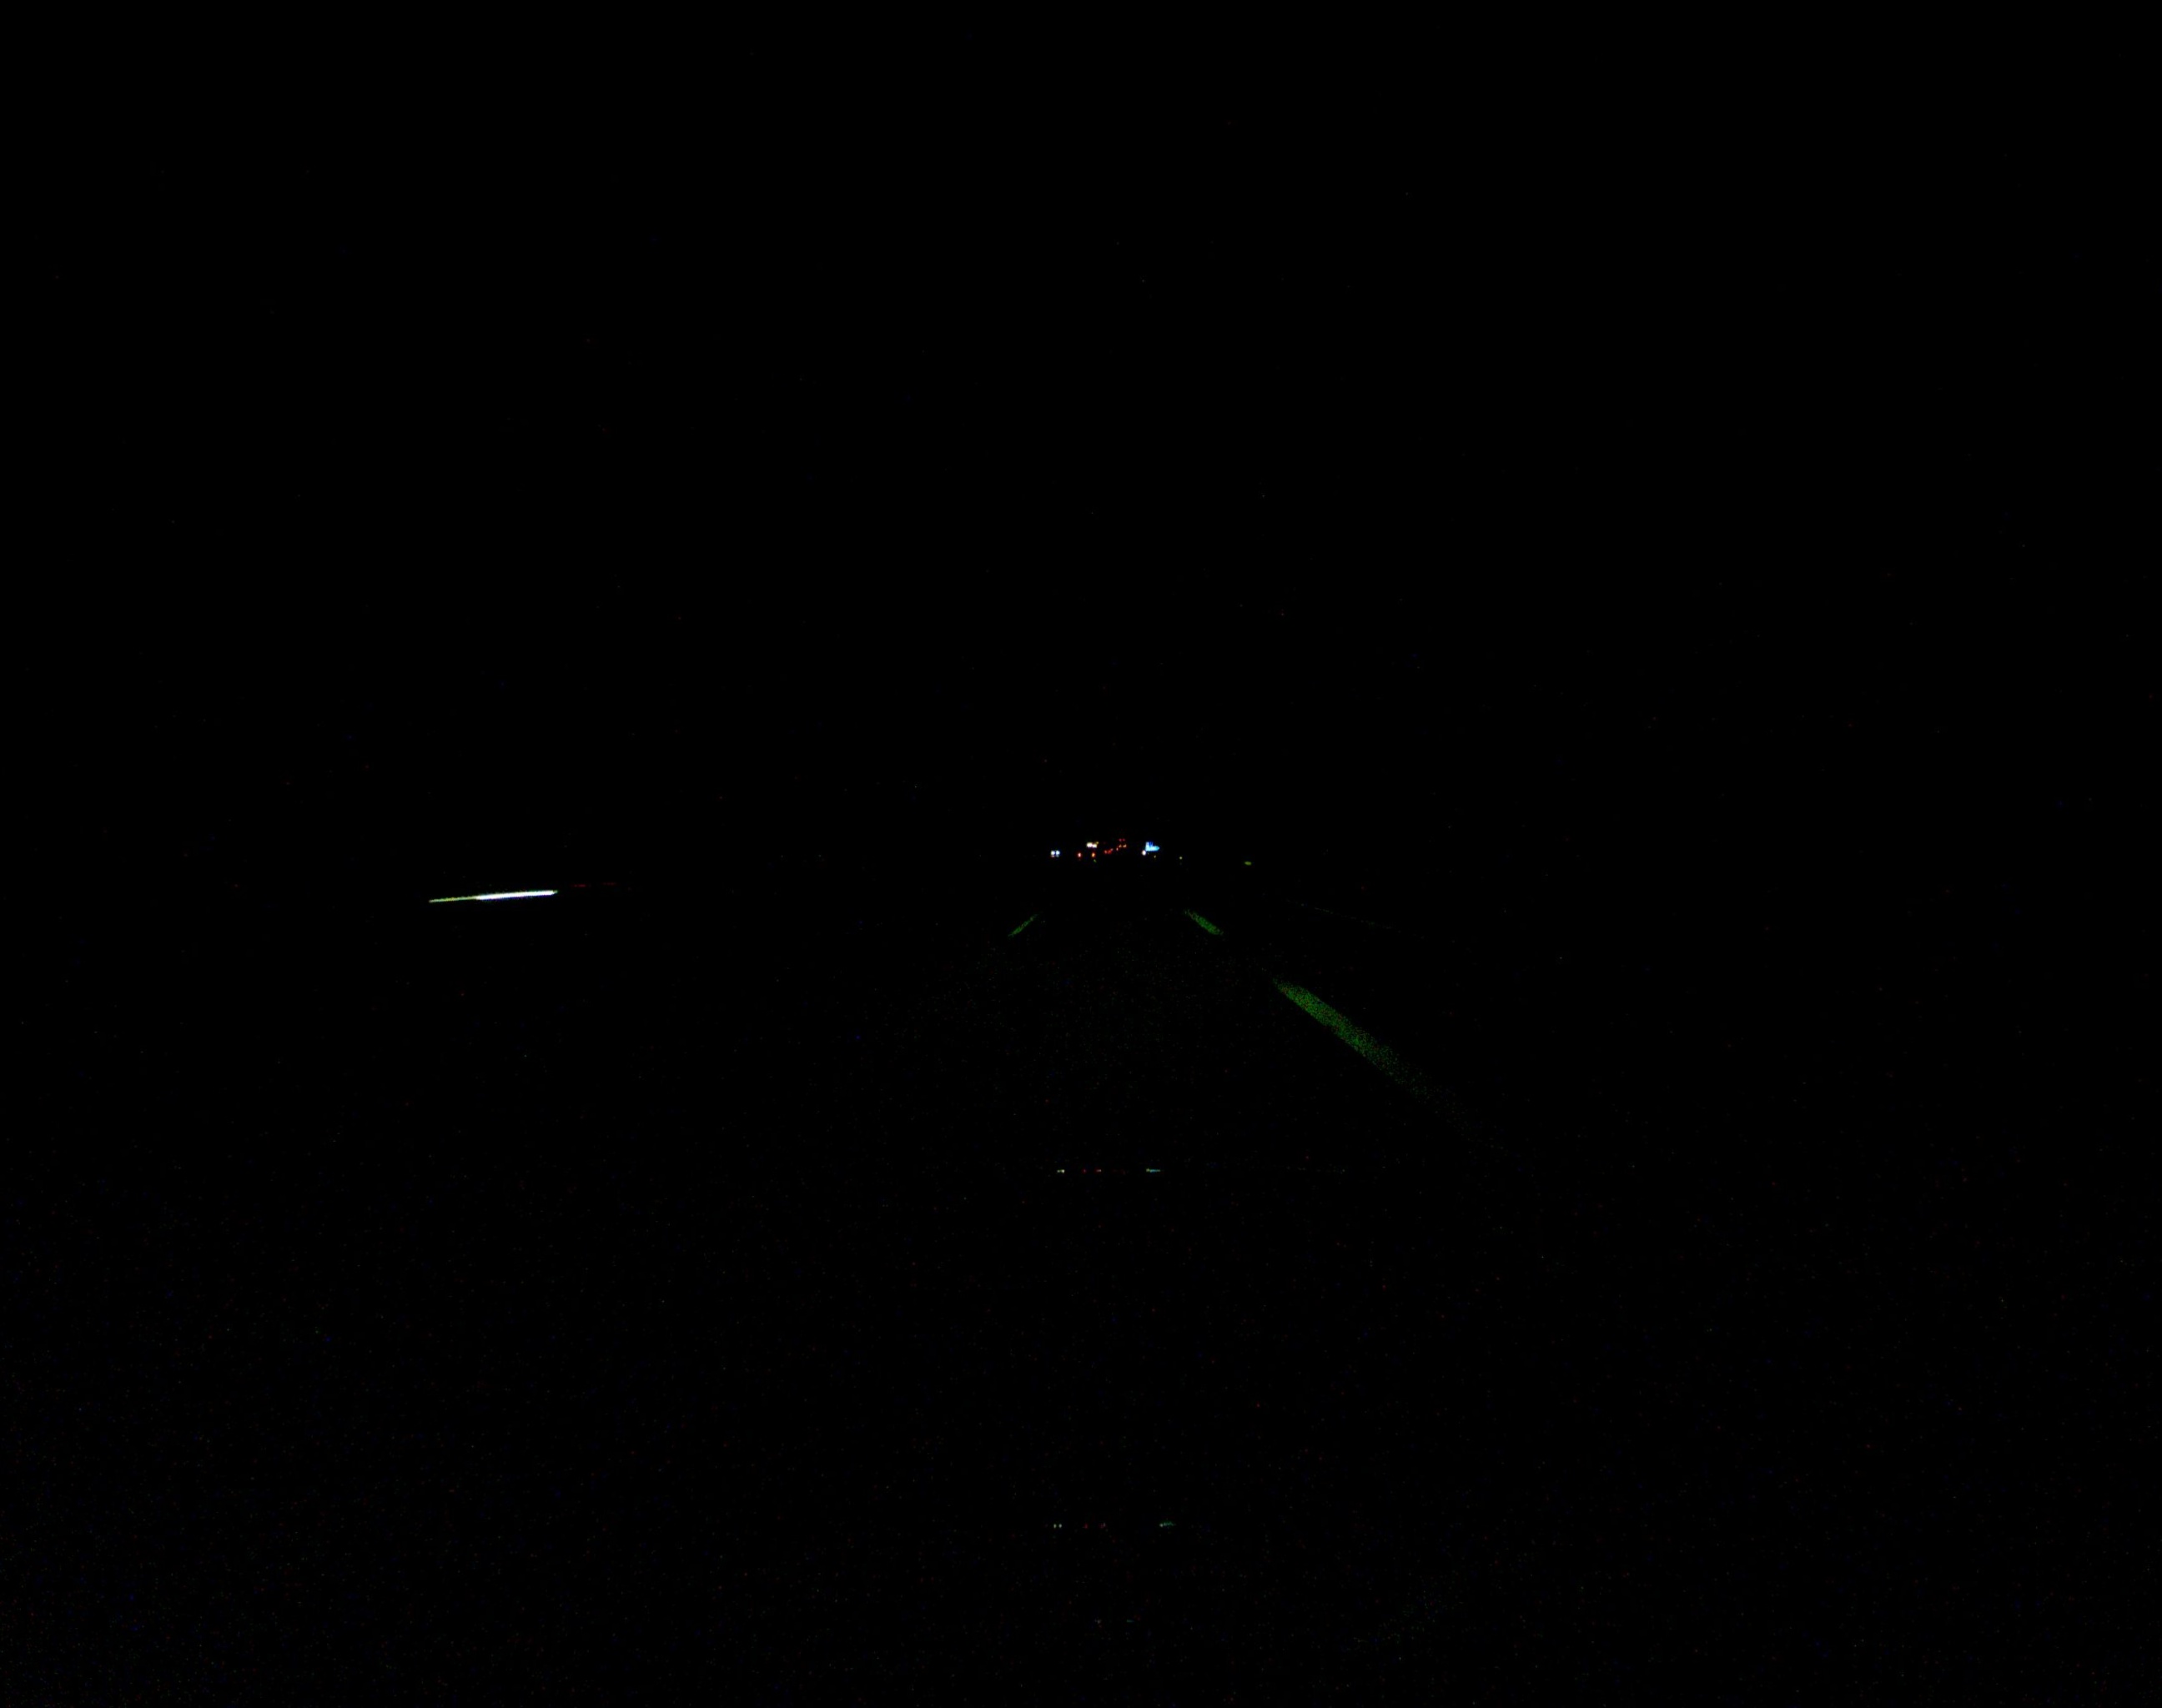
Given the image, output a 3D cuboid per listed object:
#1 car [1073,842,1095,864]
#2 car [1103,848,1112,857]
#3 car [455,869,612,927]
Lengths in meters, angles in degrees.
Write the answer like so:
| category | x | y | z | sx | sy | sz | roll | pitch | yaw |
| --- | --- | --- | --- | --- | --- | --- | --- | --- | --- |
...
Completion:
| category | x | y | z | sx | sy | sz | roll | pitch | yaw |
| --- | --- | --- | --- | --- | --- | --- | --- | --- | --- |
| car | 0.405 | -0.150 | 107.977 | 2.778 | 2.733 | 6.296 | -1 | -1 | -1 |
| car | 8.268 | -0.391 | 258.222 | 2.776 | 2.733 | 6.301 | -1 | -1 | 2 |
| car | -19.106 | 1.474 | 28.799 | 1.986 | 1.745 | 5.074 | -1 | 0 | 2 |
